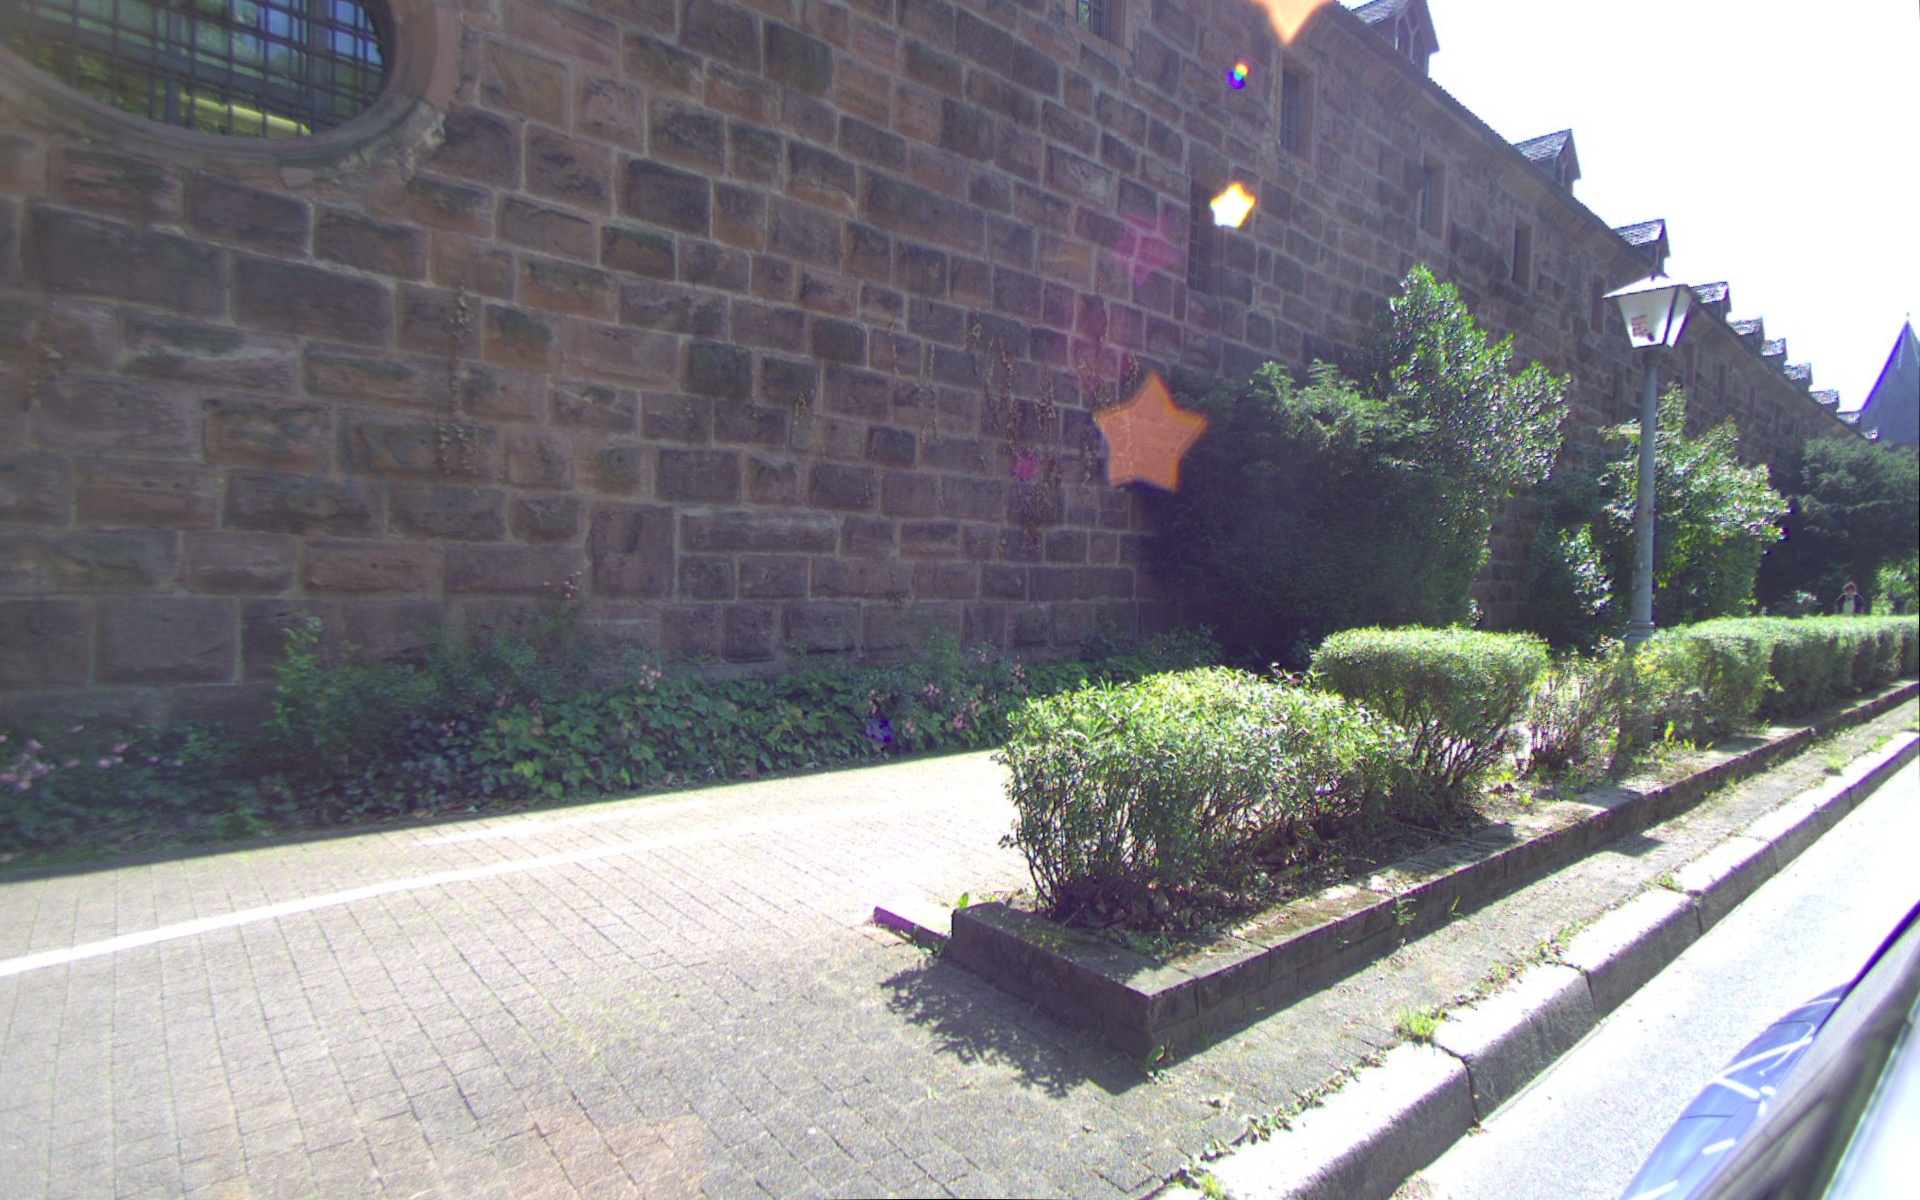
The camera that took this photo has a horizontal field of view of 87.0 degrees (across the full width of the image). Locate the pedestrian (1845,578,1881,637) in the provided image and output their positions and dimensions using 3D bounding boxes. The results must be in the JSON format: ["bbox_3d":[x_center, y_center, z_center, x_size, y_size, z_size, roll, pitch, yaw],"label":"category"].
[{"bbox_3d":[24.235,0.193,27.164,0.554,1.583,0.642,0,0,-41],"label":"pedestrian"}]
